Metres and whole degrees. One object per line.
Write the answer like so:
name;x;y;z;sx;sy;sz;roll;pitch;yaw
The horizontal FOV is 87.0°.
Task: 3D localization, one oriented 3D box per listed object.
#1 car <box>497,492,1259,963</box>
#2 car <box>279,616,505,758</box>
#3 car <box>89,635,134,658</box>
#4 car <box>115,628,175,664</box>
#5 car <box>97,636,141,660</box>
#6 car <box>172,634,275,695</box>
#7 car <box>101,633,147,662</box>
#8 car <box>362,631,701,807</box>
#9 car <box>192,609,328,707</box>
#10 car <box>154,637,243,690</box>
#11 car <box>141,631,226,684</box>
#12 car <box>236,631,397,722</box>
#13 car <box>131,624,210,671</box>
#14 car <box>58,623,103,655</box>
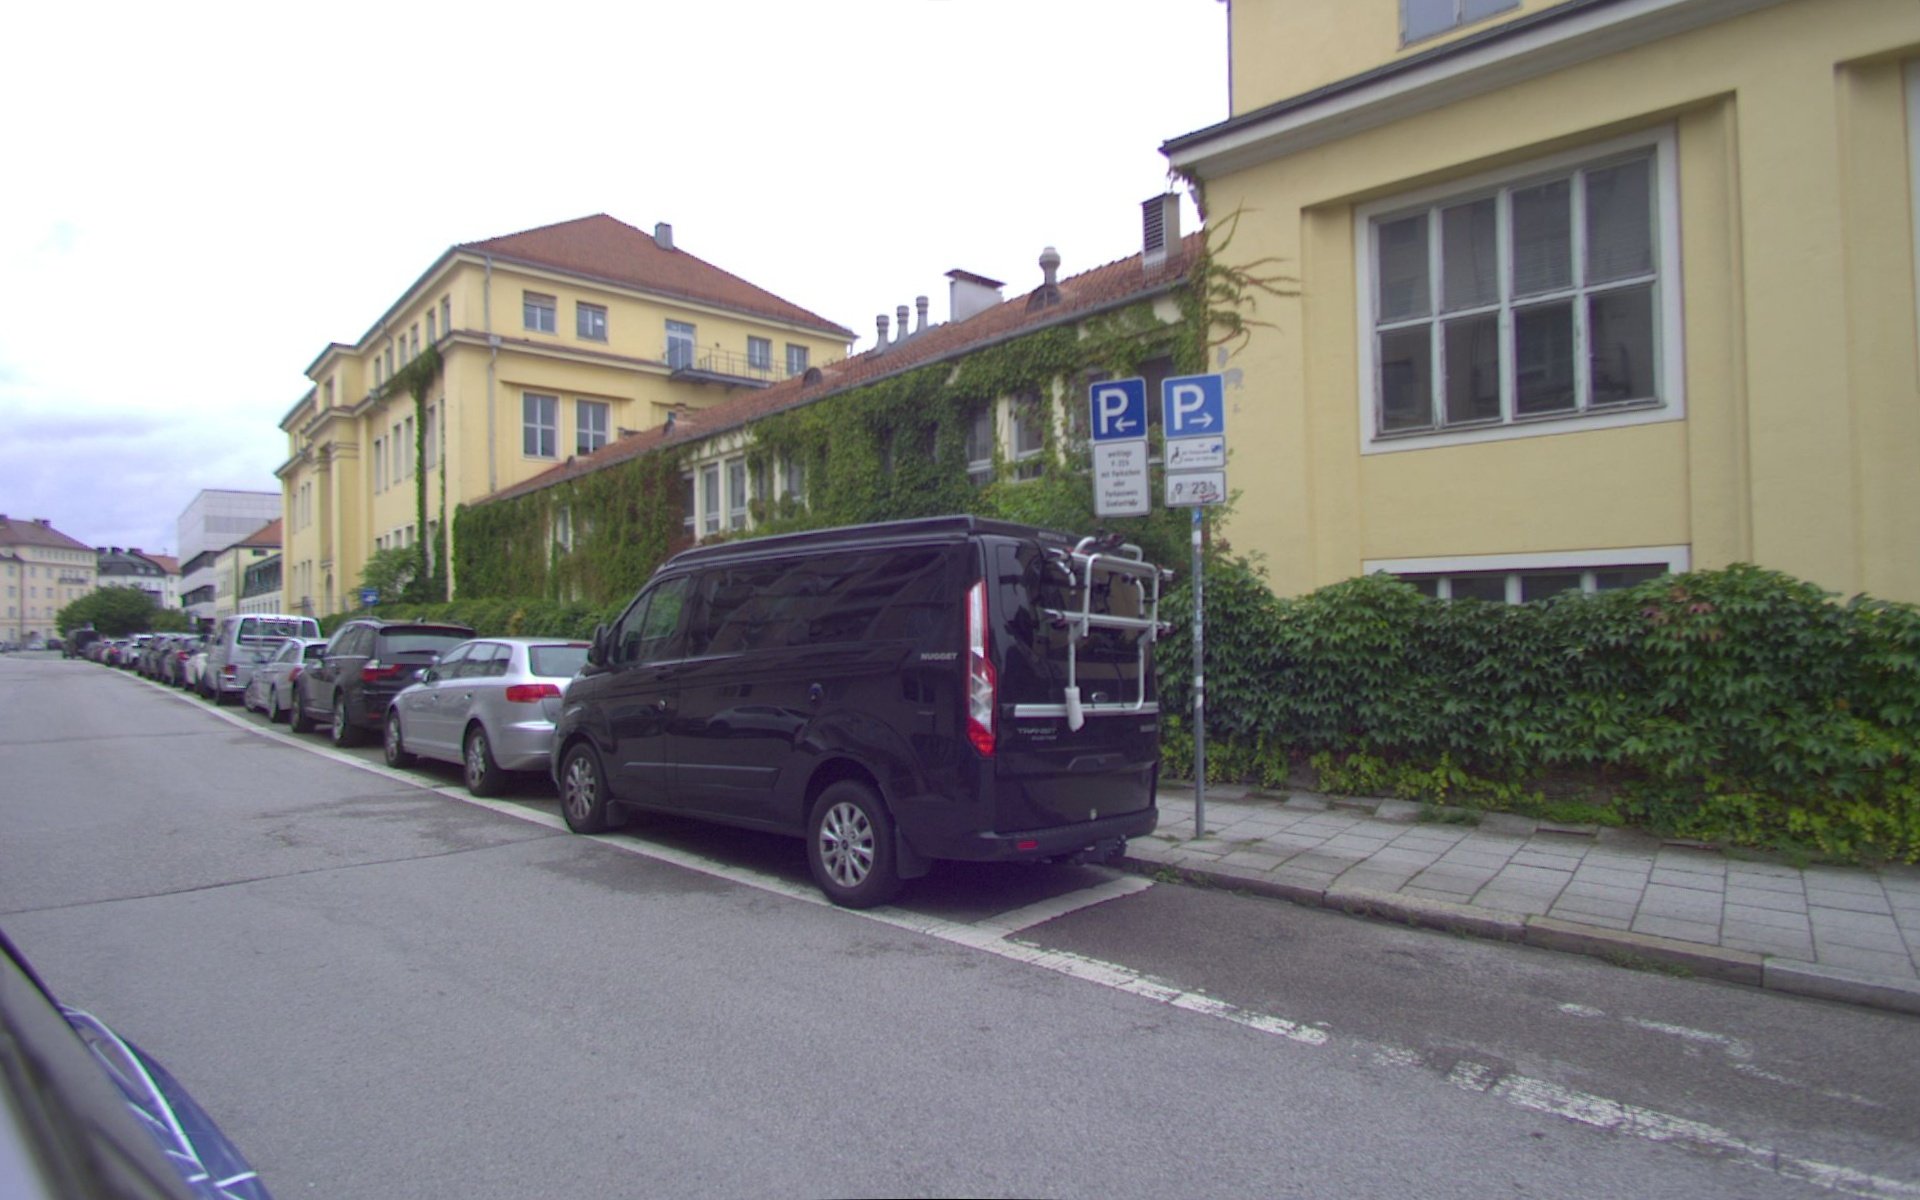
car;-0.935;0.617;6.849;5.349;1.979;2.050;-1;-3;43
car;-8.028;1.114;14.100;1.677;1.655;4.494;4;-4;-43
car;-57.645;3.132;68.738;1.935;1.493;4.532;4;-4;-44
car;-38.377;2.150;47.610;1.725;1.646;4.859;2;-3;-44
car;-53.731;3.033;64.598;1.773;1.440;4.668;5;-5;-43
car;-19.087;1.618;26.167;1.572;1.452;4.022;4;-4;-43
car;-45.350;2.568;54.892;1.678;1.508;4.154;5;-5;-42
car;-4.564;1.079;10.370;1.674;1.404;4.505;6;-6;-43
car;-15.401;1.235;22.149;1.864;1.904;4.780;4;-4;-41
car;-22.644;1.859;30.037;1.584;1.441;4.256;5;-4;-43
car;-25.858;1.864;33.645;1.704;1.642;4.470;4;-4;-43
car;-11.602;1.297;18.093;1.633;1.425;4.777;4;-4;-41
car;-29.261;1.754;37.468;1.768;1.599;4.822;4;-4;-44
car;-82.674;3.713;95.076;6.192;2.876;2.190;-2;-4;40
